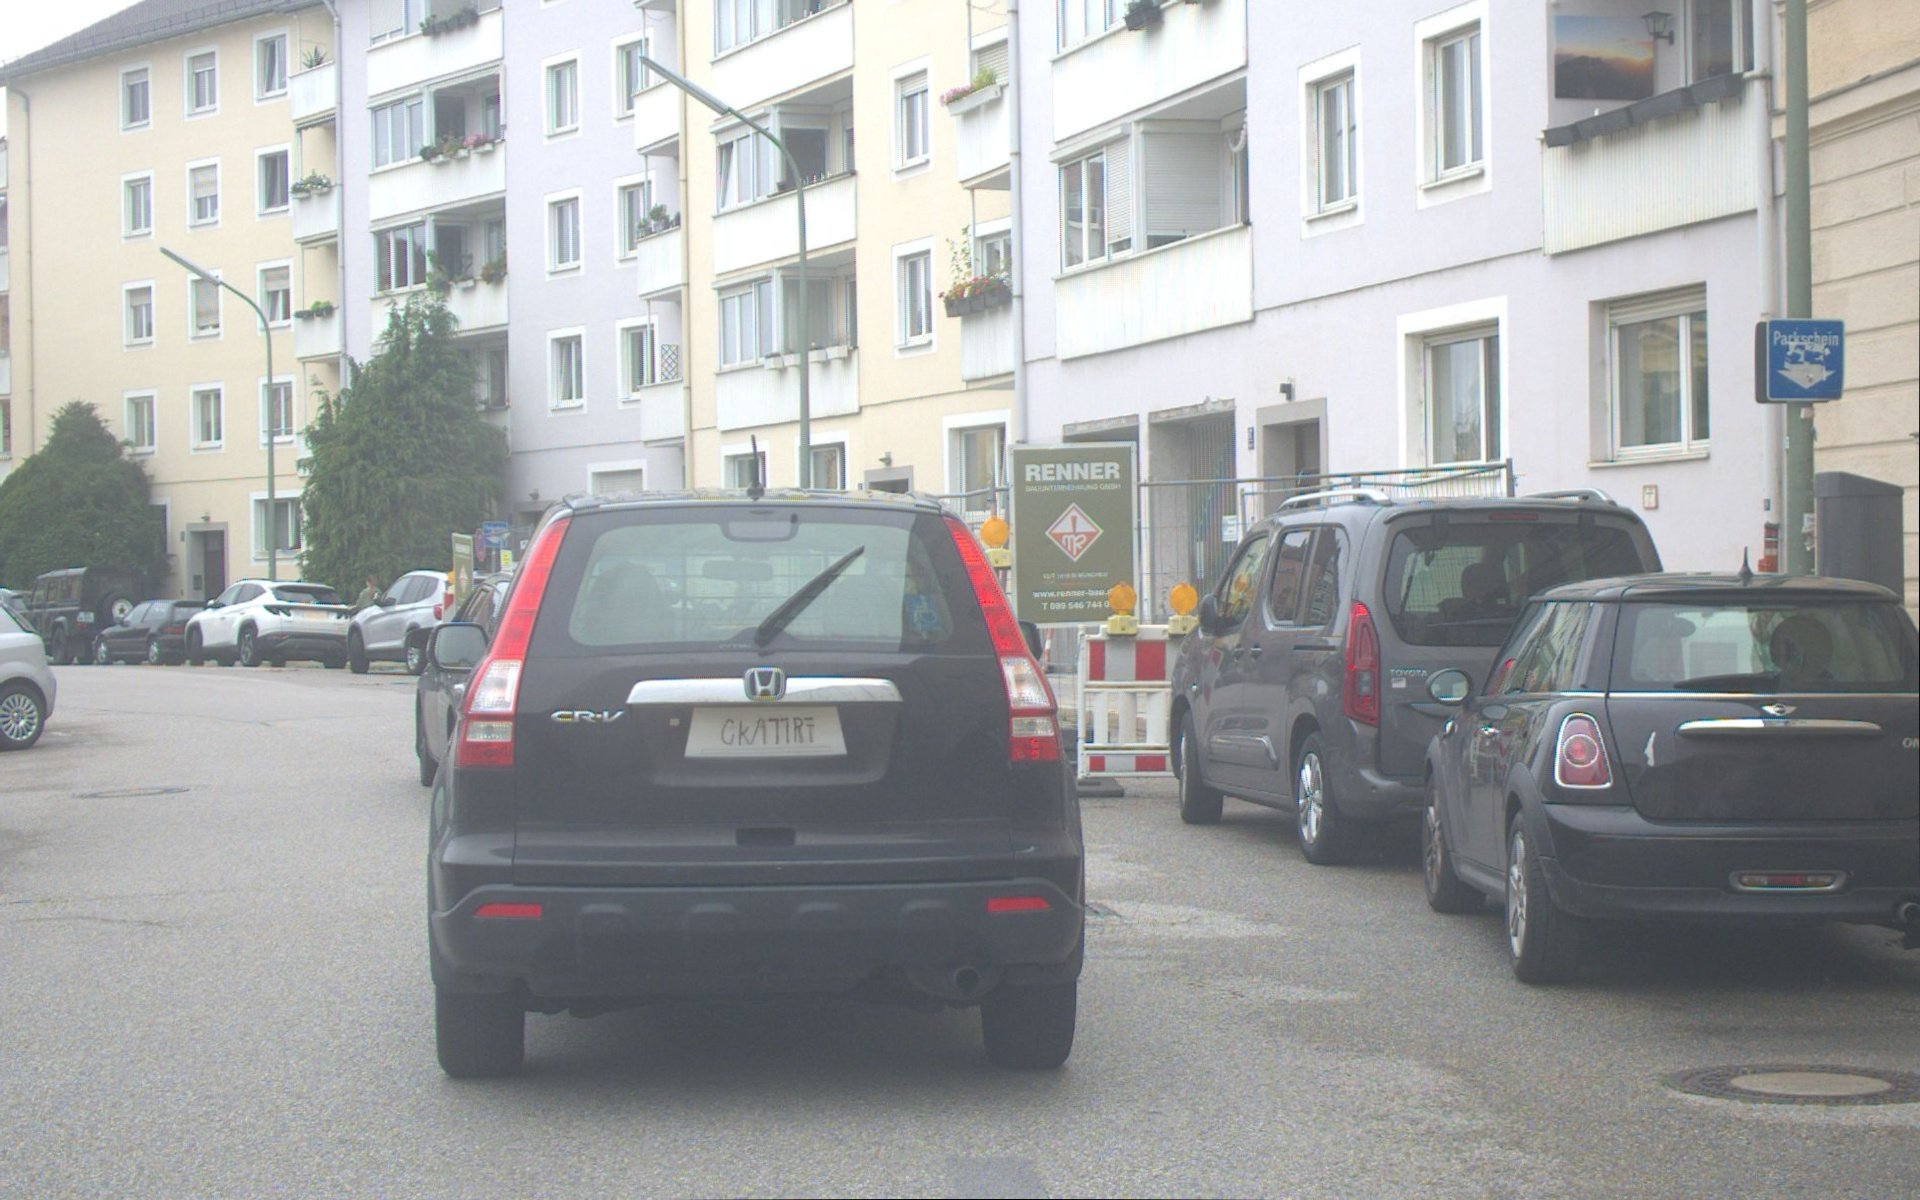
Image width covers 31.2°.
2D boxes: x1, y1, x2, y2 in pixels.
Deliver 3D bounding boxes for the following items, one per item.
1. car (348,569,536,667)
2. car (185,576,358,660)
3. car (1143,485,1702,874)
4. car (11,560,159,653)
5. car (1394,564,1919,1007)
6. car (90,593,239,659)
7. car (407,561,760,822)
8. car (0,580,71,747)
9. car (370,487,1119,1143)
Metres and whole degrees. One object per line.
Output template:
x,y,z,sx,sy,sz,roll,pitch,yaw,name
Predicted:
-8.292,0.254,54.737,1.724,1.478,4.000,0,1,-28,car
-12.743,0.304,63.461,1.724,1.478,4.000,0,1,-34,car
2.280,0.358,18.161,1.777,1.800,4.277,1,0,-9,car
-18.222,0.100,71.497,1.724,1.871,4.000,0,1,-34,car
2.752,0.596,13.239,1.708,1.442,3.830,1,0,1,car
-15.686,0.496,67.695,1.697,1.232,3.601,0,1,-34,car
-2.483,0.507,21.824,1.678,1.476,4.088,-1,0,-14,car
-10.203,0.718,30.712,1.683,1.476,4.078,-5,0,39,car
-0.747,0.525,10.753,1.890,1.642,3.992,-1,0,-6,car
